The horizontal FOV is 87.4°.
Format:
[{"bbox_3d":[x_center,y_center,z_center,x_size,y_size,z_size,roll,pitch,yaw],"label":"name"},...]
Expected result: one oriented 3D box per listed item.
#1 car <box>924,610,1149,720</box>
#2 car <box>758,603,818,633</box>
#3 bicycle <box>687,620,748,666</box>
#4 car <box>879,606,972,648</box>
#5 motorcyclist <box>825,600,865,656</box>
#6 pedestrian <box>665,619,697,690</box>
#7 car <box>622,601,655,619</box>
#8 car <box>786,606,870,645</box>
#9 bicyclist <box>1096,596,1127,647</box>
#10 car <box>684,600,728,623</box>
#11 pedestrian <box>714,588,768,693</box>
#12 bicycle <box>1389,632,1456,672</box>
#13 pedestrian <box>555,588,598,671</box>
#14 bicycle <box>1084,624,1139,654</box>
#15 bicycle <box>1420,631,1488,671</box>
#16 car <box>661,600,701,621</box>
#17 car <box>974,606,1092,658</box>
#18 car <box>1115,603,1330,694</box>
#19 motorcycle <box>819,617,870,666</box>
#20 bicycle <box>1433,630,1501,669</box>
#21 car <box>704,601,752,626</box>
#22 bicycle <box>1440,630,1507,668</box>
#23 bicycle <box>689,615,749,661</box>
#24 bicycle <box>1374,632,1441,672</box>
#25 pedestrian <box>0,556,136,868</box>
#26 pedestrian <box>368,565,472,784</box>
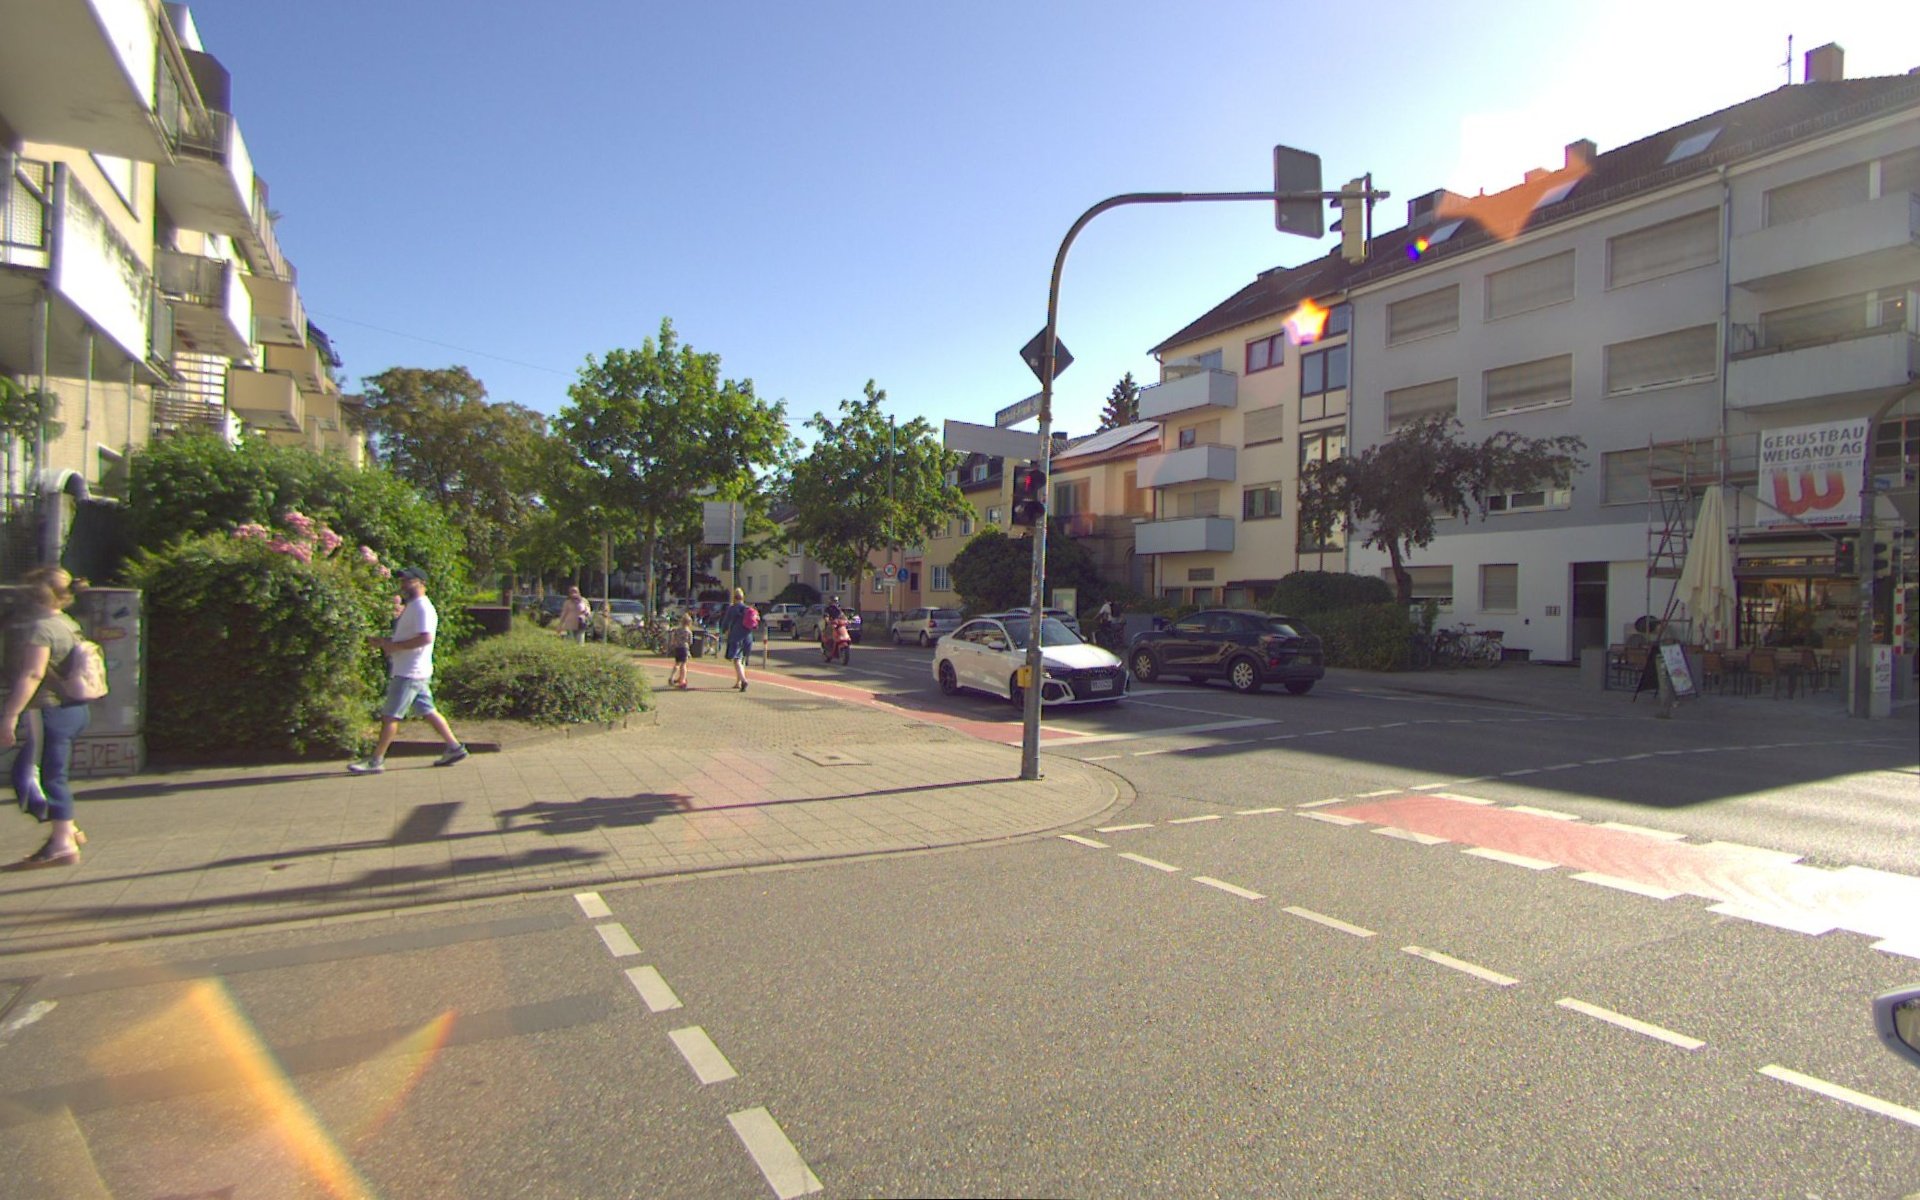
[{"bbox_3d":[1.150,0.982,17.188,1.909,1.455,4.238,-3,2,-27],"label":"car"},{"bbox_3d":[-9.018,0.914,52.460,1.893,1.449,3.969,-2,1,-29],"label":"car"},{"bbox_3d":[-6.626,1.178,27.473,1.550,1.177,0.447,1,14,-7],"label":"bicycle"},{"bbox_3d":[-1.368,0.973,37.883,1.893,1.449,3.969,-2,1,-29],"label":"car"},{"bbox_3d":[-2.888,0.684,25.216,0.747,1.374,0.787,-1,1,-26],"label":"motorcyclist"},{"bbox_3d":[-4.640,0.895,16.692,0.382,1.161,0.528,1,0,-29],"label":"pedestrian"},{"bbox_3d":[-27.710,0.839,86.500,1.893,1.449,3.969,-2,1,-29],"label":"car"},{"bbox_3d":[-5.266,0.976,39.688,1.822,1.453,4.142,1,-1,-30],"label":"car"},{"bbox_3d":[4.819,0.682,32.020,0.548,1.569,0.808,1,1,-30],"label":"bicyclist"},{"bbox_3d":[-17.043,0.715,67.360,1.893,1.449,3.969,-2,1,-29],"label":"car"},{"bbox_3d":[-3.658,0.655,16.732,0.568,1.705,0.960,1,0,-32],"label":"pedestrian"},{"bbox_3d":[11.808,1.308,25.694,0.506,0.952,1.583,1,-1,-27],"label":"bicycle"},{"bbox_3d":[-7.667,0.584,20.074,0.688,1.617,0.642,1,0,-31],"label":"pedestrian"},{"bbox_3d":[4.802,1.223,32.024,0.548,0.845,2.114,1,0,-30],"label":"bicycle"},{"bbox_3d":[12.617,1.281,25.689,0.506,0.952,1.583,1,-1,-27],"label":"bicycle"},{"bbox_3d":[-20.280,0.715,72.991,1.893,1.449,3.969,-2,1,-29],"label":"car"},{"bbox_3d":[2.263,0.969,32.092,1.893,1.539,3.969,0,0,-29],"label":"car"},{"bbox_3d":[5.035,0.891,19.755,1.581,1.586,4.050,2,-2,-34],"label":"car"},{"bbox_3d":[-2.921,1.026,25.282,0.739,1.149,1.672,-1,0,-26],"label":"motorcycle"},{"bbox_3d":[13.188,1.284,26.169,0.506,0.952,1.583,1,-1,-27],"label":"bicycle"},{"bbox_3d":[-14.672,0.838,63.386,1.893,1.449,3.969,-2,1,-29],"label":"car"},{"bbox_3d":[13.651,1.299,26.751,0.506,0.952,1.583,1,-1,-27],"label":"bicycle"},{"bbox_3d":[-6.681,1.062,27.939,1.550,1.177,0.447,1,14,-7],"label":"bicycle"},{"bbox_3d":[11.212,1.289,25.198,0.506,0.952,1.583,1,-1,-27],"label":"bicycle"},{"bbox_3d":[-4.942,0.578,5.448,0.554,1.602,0.531,1,0,-20],"label":"pedestrian"},{"bbox_3d":[-4.463,0.588,8.296,0.663,1.711,0.569,1,0,-36],"label":"pedestrian"}]
